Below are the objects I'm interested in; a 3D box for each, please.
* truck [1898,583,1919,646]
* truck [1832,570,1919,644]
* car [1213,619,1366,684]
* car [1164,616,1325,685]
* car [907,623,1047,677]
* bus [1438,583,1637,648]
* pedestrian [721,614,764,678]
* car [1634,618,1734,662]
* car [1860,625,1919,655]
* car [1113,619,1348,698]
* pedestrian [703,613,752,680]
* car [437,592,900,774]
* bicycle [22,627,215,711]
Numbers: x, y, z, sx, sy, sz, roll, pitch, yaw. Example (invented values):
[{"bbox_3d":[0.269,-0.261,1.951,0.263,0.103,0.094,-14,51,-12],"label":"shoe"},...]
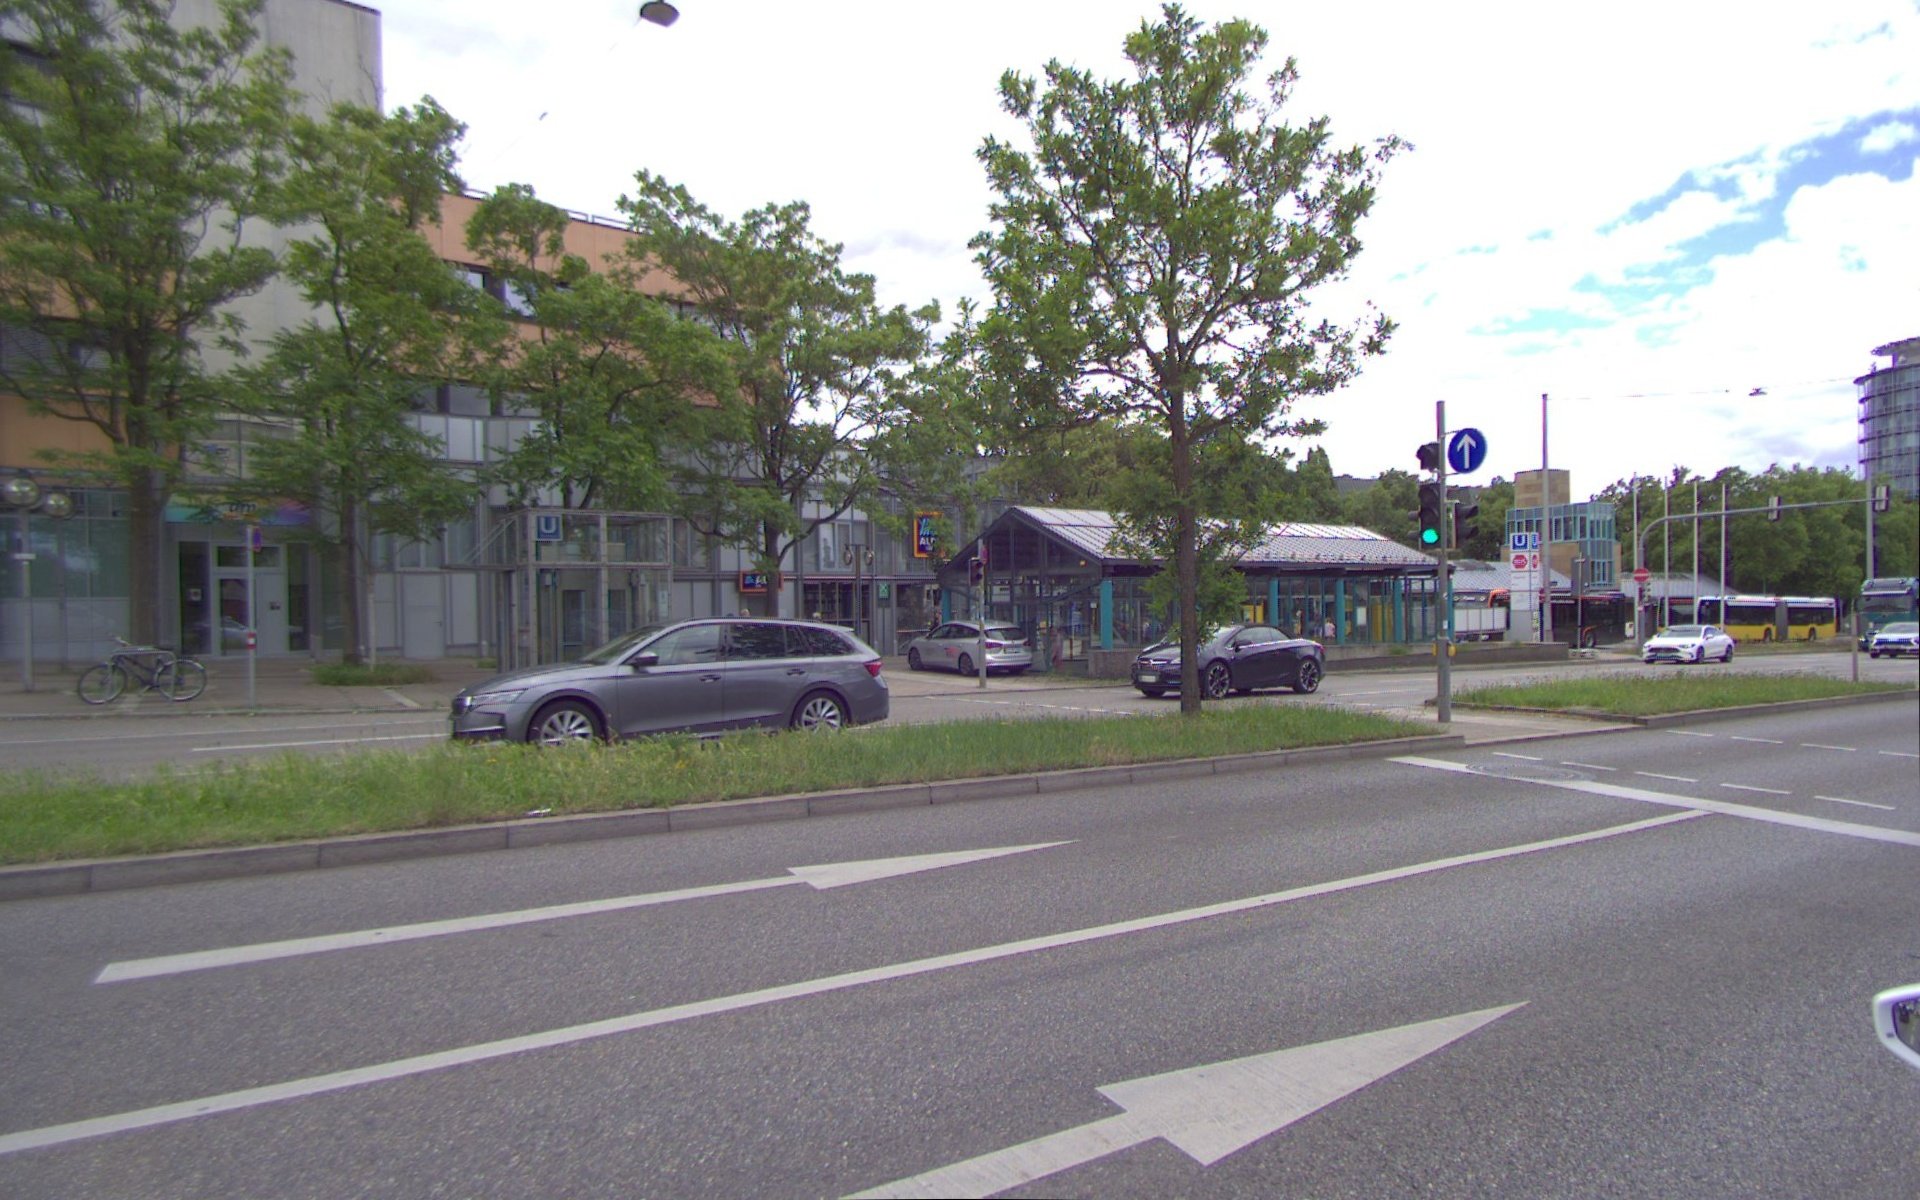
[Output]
[{"bbox_3d":[61.326,0.924,61.853,7.940,3.776,3.349,1,-2,-33],"label":"truck"},{"bbox_3d":[52.835,0.472,56.158,11.162,3.777,3.347,1,0,-34],"label":"truck"},{"bbox_3d":[8.640,1.306,26.307,3.953,1.595,1.616,1,-1,-30],"label":"car"},{"bbox_3d":[7.058,1.203,24.805,3.960,1.538,1.736,1,0,-35],"label":"car"},{"bbox_3d":[0.386,1.320,27.746,1.979,1.372,3.963,1,-1,-34],"label":"car"},{"bbox_3d":[30.682,0.857,53.125,12.000,3.175,2.947,1,0,-26],"label":"bus"},{"bbox_3d":[-5.259,1.097,24.317,0.592,1.477,0.869,2,0,25],"label":"pedestrian"},{"bbox_3d":[27.937,1.522,38.741,4.460,1.595,1.722,1,-2,-34],"label":"car"},{"bbox_3d":[42.447,1.780,45.329,3.958,1.279,1.819,1,-2,-34],"label":"car"},{"bbox_3d":[5.488,1.125,20.102,4.961,1.416,1.802,1,-3,-35],"label":"car"},{"bbox_3d":[-5.326,1.063,23.006,0.593,1.477,0.868,1,-1,33],"label":"pedestrian"},{"bbox_3d":[-3.058,0.784,10.944,4.471,1.595,1.980,1,-2,-35],"label":"car"},{"bbox_3d":[-14.174,1.126,17.039,2.400,1.288,1.045,1,1,-35],"label":"bicycle"}]
